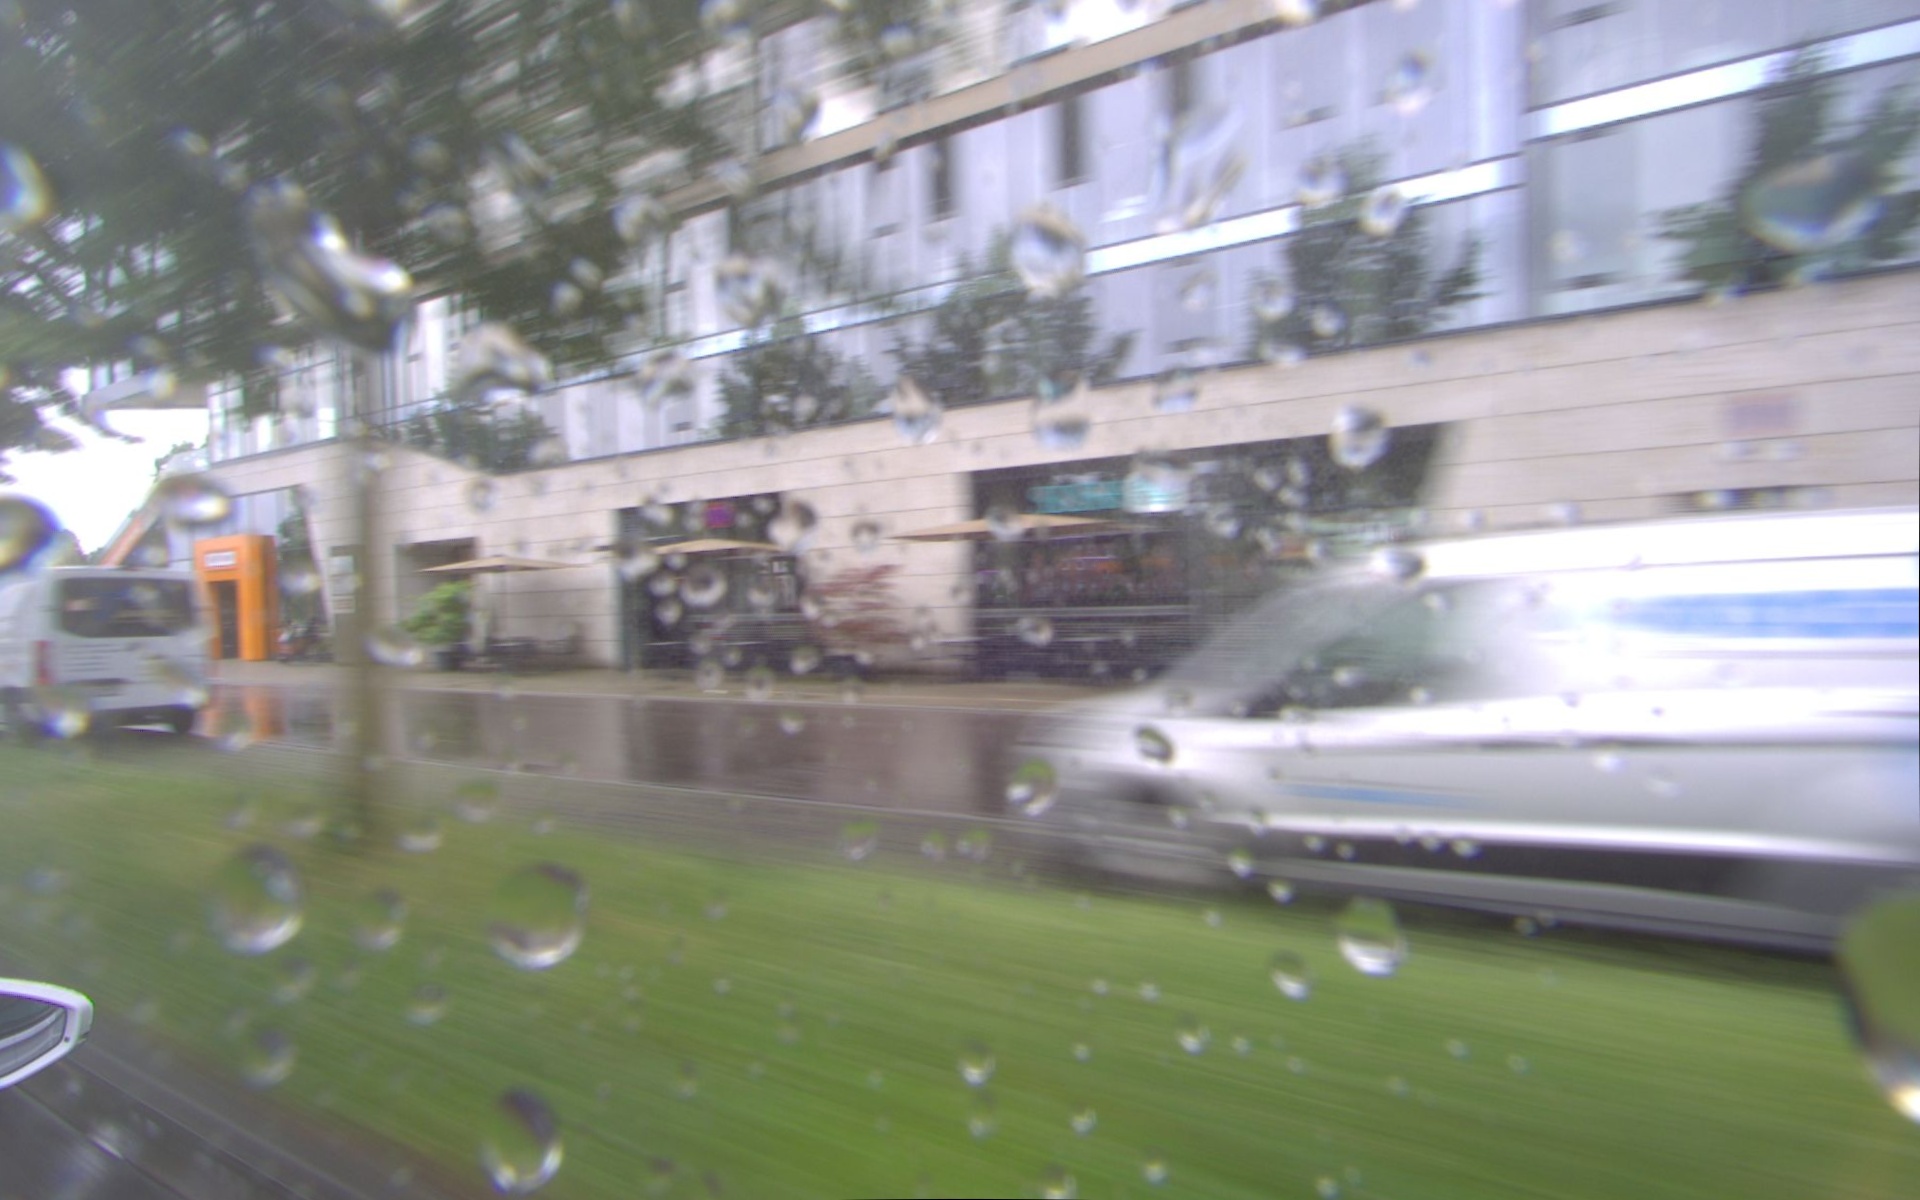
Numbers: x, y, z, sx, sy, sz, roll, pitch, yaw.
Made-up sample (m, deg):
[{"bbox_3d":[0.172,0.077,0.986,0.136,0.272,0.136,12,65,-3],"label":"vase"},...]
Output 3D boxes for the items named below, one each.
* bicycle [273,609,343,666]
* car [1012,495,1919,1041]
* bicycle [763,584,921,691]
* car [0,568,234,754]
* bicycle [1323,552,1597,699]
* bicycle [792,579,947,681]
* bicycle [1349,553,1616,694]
[{"bbox_3d":[-19.501,1.081,29.923,2.724,1.556,0.664,2,3,32],"label":"bicycle"},{"bbox_3d":[2.735,0.563,4.718,4.621,1.815,1.902,-1,1,32],"label":"car"},{"bbox_3d":[-2.140,0.609,17.832,3.074,1.746,0.643,2,3,32],"label":"bicycle"},{"bbox_3d":[-12.743,0.770,14.436,4.499,2.304,2.116,-1,1,32],"label":"car"},{"bbox_3d":[6.382,0.261,12.954,3.074,1.746,0.643,2,3,32],"label":"bicycle"},{"bbox_3d":[-1.714,0.503,18.445,3.074,1.746,0.643,2,3,32],"label":"bicycle"},{"bbox_3d":[6.962,0.249,13.514,3.074,1.746,0.770,2,3,32],"label":"bicycle"}]
